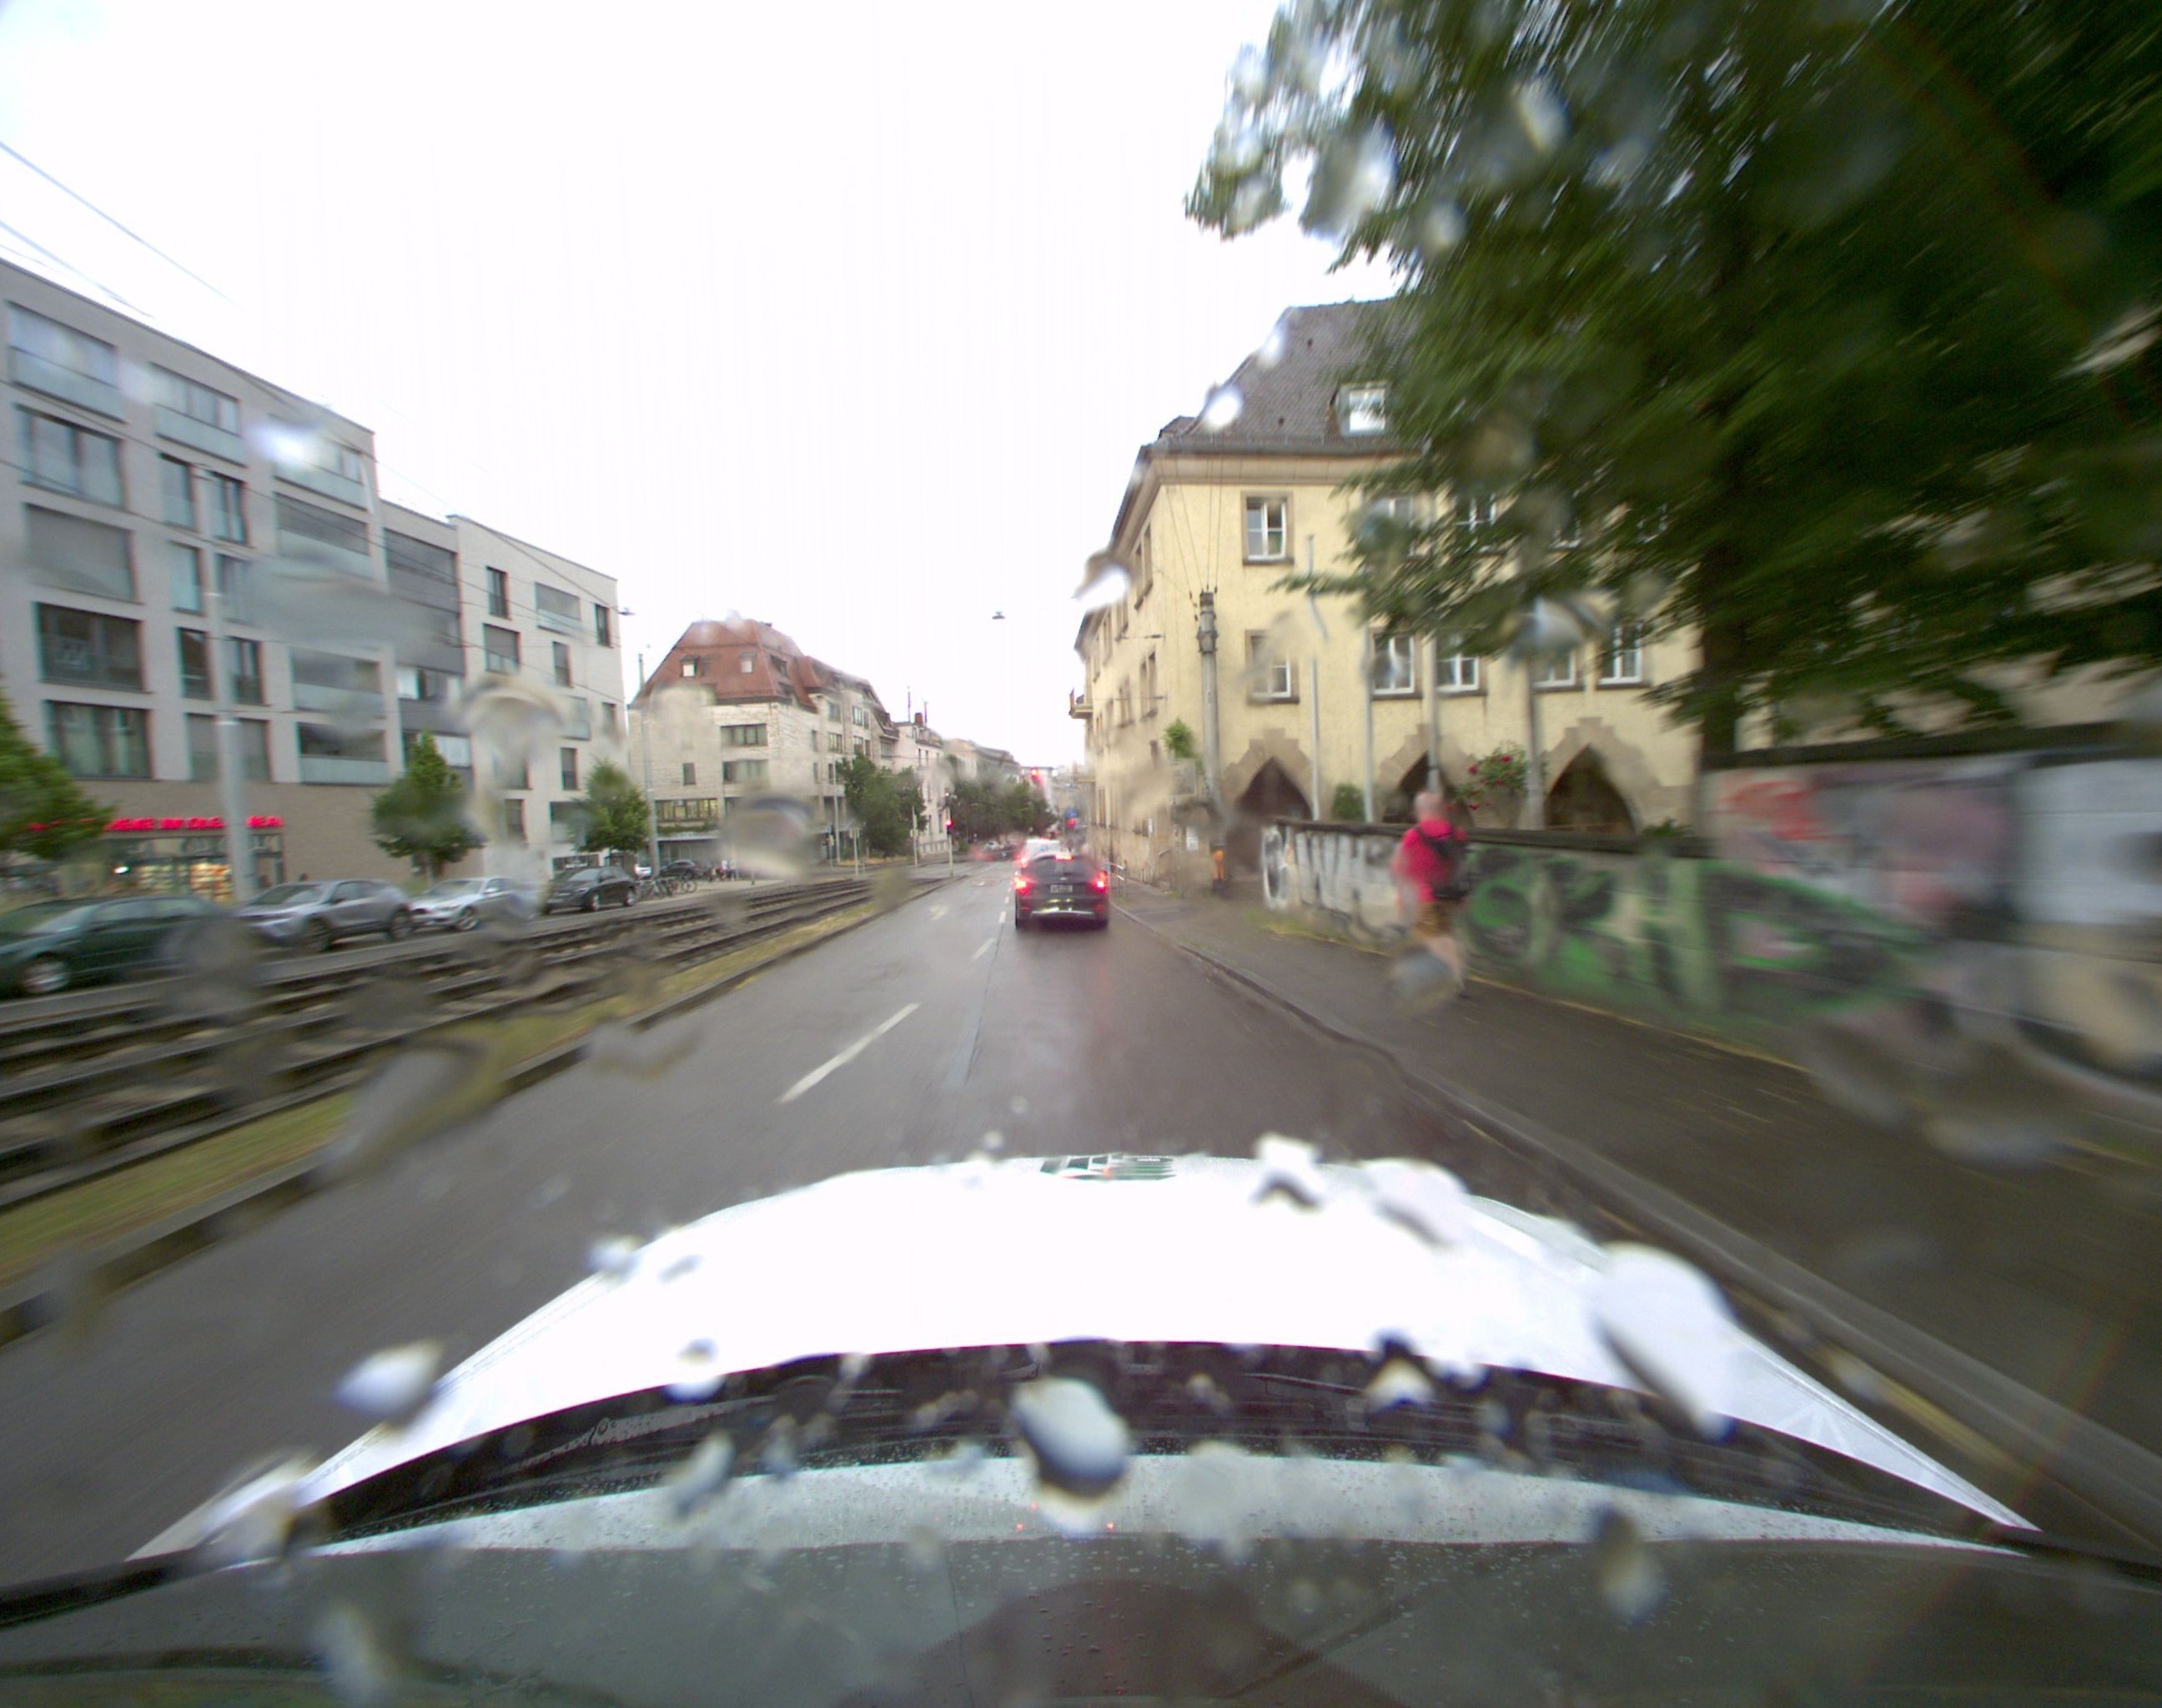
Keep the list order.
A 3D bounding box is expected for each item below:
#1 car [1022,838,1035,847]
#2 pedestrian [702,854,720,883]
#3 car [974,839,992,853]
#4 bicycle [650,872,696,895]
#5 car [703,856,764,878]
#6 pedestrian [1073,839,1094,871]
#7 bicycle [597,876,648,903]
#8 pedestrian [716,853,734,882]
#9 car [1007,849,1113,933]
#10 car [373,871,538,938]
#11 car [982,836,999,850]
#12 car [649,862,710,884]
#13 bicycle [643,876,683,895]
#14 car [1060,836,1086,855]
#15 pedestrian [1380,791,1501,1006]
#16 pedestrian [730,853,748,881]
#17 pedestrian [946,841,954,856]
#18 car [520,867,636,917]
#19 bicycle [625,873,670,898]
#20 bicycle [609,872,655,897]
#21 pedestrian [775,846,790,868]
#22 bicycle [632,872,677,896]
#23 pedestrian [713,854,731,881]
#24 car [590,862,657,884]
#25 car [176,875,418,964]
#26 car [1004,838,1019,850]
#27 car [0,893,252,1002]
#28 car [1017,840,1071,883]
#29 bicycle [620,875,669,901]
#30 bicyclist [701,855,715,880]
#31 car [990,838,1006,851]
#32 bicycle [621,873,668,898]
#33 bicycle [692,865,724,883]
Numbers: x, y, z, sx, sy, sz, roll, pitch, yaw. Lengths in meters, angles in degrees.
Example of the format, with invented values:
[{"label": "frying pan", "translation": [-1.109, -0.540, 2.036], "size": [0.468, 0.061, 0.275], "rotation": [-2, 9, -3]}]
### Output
[{"label": "car", "translation": [-10.050, -2.165, 155.714], "size": [1.987, 1.662, 4.001], "rotation": [-2, 1, 1]}, {"label": "pedestrian", "translation": [-27.096, 1.059, 59.627], "size": [0.941, 2.013, 0.763], "rotation": [-3, 1, -8]}, {"label": "car", "translation": [-14.286, -1.174, 119.021], "size": [1.987, 2.013, 4.001], "rotation": [-2, 1, 1]}, {"label": "bicycle", "translation": [-20.817, 1.498, 41.631], "size": [1.951, 1.027, 0.718], "rotation": [-2, 1, -13]}, {"label": "car", "translation": [-28.546, 1.038, 66.985], "size": [4.114, 1.568, 1.826], "rotation": [-2, 1, 4]}, {"label": "pedestrian", "translation": [0.132, 0.053, 46.739], "size": [1.043, 1.795, 0.900], "rotation": [-3, 1, -6]}, {"label": "bicycle", "translation": [-19.532, 1.502, 34.723], "size": [1.800, 1.064, 0.455], "rotation": [-2, 1, -15]}, {"label": "pedestrian", "translation": [-25.911, 0.987, 59.333], "size": [0.941, 2.013, 0.763], "rotation": [-3, 1, -8]}, {"label": "car", "translation": [-0.455, 0.673, 16.924], "size": [1.915, 1.479, 3.997], "rotation": [-1, 0, -2]}, {"label": "car", "translation": [-17.315, 1.317, 22.825], "size": [1.771, 1.503, 4.073], "rotation": [-3, 1, -7]}, {"label": "car", "translation": [-13.881, -1.736, 125.322], "size": [1.987, 2.013, 4.001], "rotation": [-2, 1, 1]}, {"label": "car", "translation": [-33.357, 1.540, 67.699], "size": [4.114, 1.568, 1.826], "rotation": [-2, 1, 4]}, {"label": "bicycle", "translation": [-20.763, 1.577, 40.480], "size": [1.652, 0.866, 0.566], "rotation": [-2, 1, -15]}, {"label": "car", "translation": [-0.798, -0.895, 82.305], "size": [1.983, 1.772, 4.008], "rotation": [-2, 1, 7]}, {"label": "pedestrian", "translation": [3.076, 0.360, 7.019], "size": [0.631, 1.721, 0.710], "rotation": [-3, 0, -3]}, {"label": "pedestrian", "translation": [-24.882, 0.944, 59.280], "size": [0.940, 2.013, 0.764], "rotation": [-3, 1, -4]}, {"label": "pedestrian", "translation": [-18.313, -0.755, 113.752], "size": [0.943, 2.013, 0.761], "rotation": [-3, 1, -14]}, {"label": "car", "translation": [-18.073, 1.315, 29.511], "size": [1.910, 1.503, 4.226], "rotation": [-3, 1, -7]}, {"label": "bicycle", "translation": [-20.441, 1.480, 38.447], "size": [1.805, 1.108, 0.452], "rotation": [-2, 1, -24]}, {"label": "bicycle", "translation": [-20.276, 1.370, 36.820], "size": [1.764, 1.071, 0.485], "rotation": [-2, 1, -2]}, {"label": "pedestrian", "translation": [-26.087, 0.269, 71.184], "size": [0.904, 1.931, 0.823], "rotation": [-3, 1, -8]}, {"label": "bicycle", "translation": [-20.802, 1.459, 39.752], "size": [1.801, 1.064, 0.566], "rotation": [-2, 1, -17]}, {"label": "pedestrian", "translation": [-26.944, 1.002, 61.158], "size": [0.941, 2.013, 0.763], "rotation": [-3, 1, -8]}, {"label": "car", "translation": [-38.058, 1.554, 67.746], "size": [4.438, 1.568, 1.911], "rotation": [-2, 1, 4]}, {"label": "car", "translation": [-16.924, 1.330, 17.903], "size": [1.771, 1.503, 3.912], "rotation": [-3, 1, -7]}, {"label": "car", "translation": [-12.146, -1.783, 142.662], "size": [1.987, 2.013, 4.001], "rotation": [-2, 1, 1]}, {"label": "car", "translation": [-16.389, 1.455, 13.362], "size": [1.545, 1.362, 4.005], "rotation": [-2, 0, -3]}, {"label": "car", "translation": [-1.735, 0.281, 36.726], "size": [2.134, 1.745, 4.210], "rotation": [-3, 1, -6]}, {"label": "bicycle", "translation": [-19.186, 1.492, 35.850], "size": [1.802, 1.064, 0.454], "rotation": [-2, 1, -19]}, {"label": "bicyclist", "translation": [-24.030, 0.879, 52.455], "size": [0.706, 1.573, 0.457], "rotation": [-2, 0, -44]}, {"label": "car", "translation": [-13.349, -1.609, 131.707], "size": [1.987, 2.013, 4.001], "rotation": [-2, 1, 1]}, {"label": "bicycle", "translation": [-20.190, 1.448, 37.690], "size": [1.802, 1.064, 0.454], "rotation": [-2, 1, -19]}, {"label": "bicycle", "translation": [-24.005, 1.274, 52.470], "size": [1.813, 1.064, 0.452], "rotation": [-2, 1, -44]}]
